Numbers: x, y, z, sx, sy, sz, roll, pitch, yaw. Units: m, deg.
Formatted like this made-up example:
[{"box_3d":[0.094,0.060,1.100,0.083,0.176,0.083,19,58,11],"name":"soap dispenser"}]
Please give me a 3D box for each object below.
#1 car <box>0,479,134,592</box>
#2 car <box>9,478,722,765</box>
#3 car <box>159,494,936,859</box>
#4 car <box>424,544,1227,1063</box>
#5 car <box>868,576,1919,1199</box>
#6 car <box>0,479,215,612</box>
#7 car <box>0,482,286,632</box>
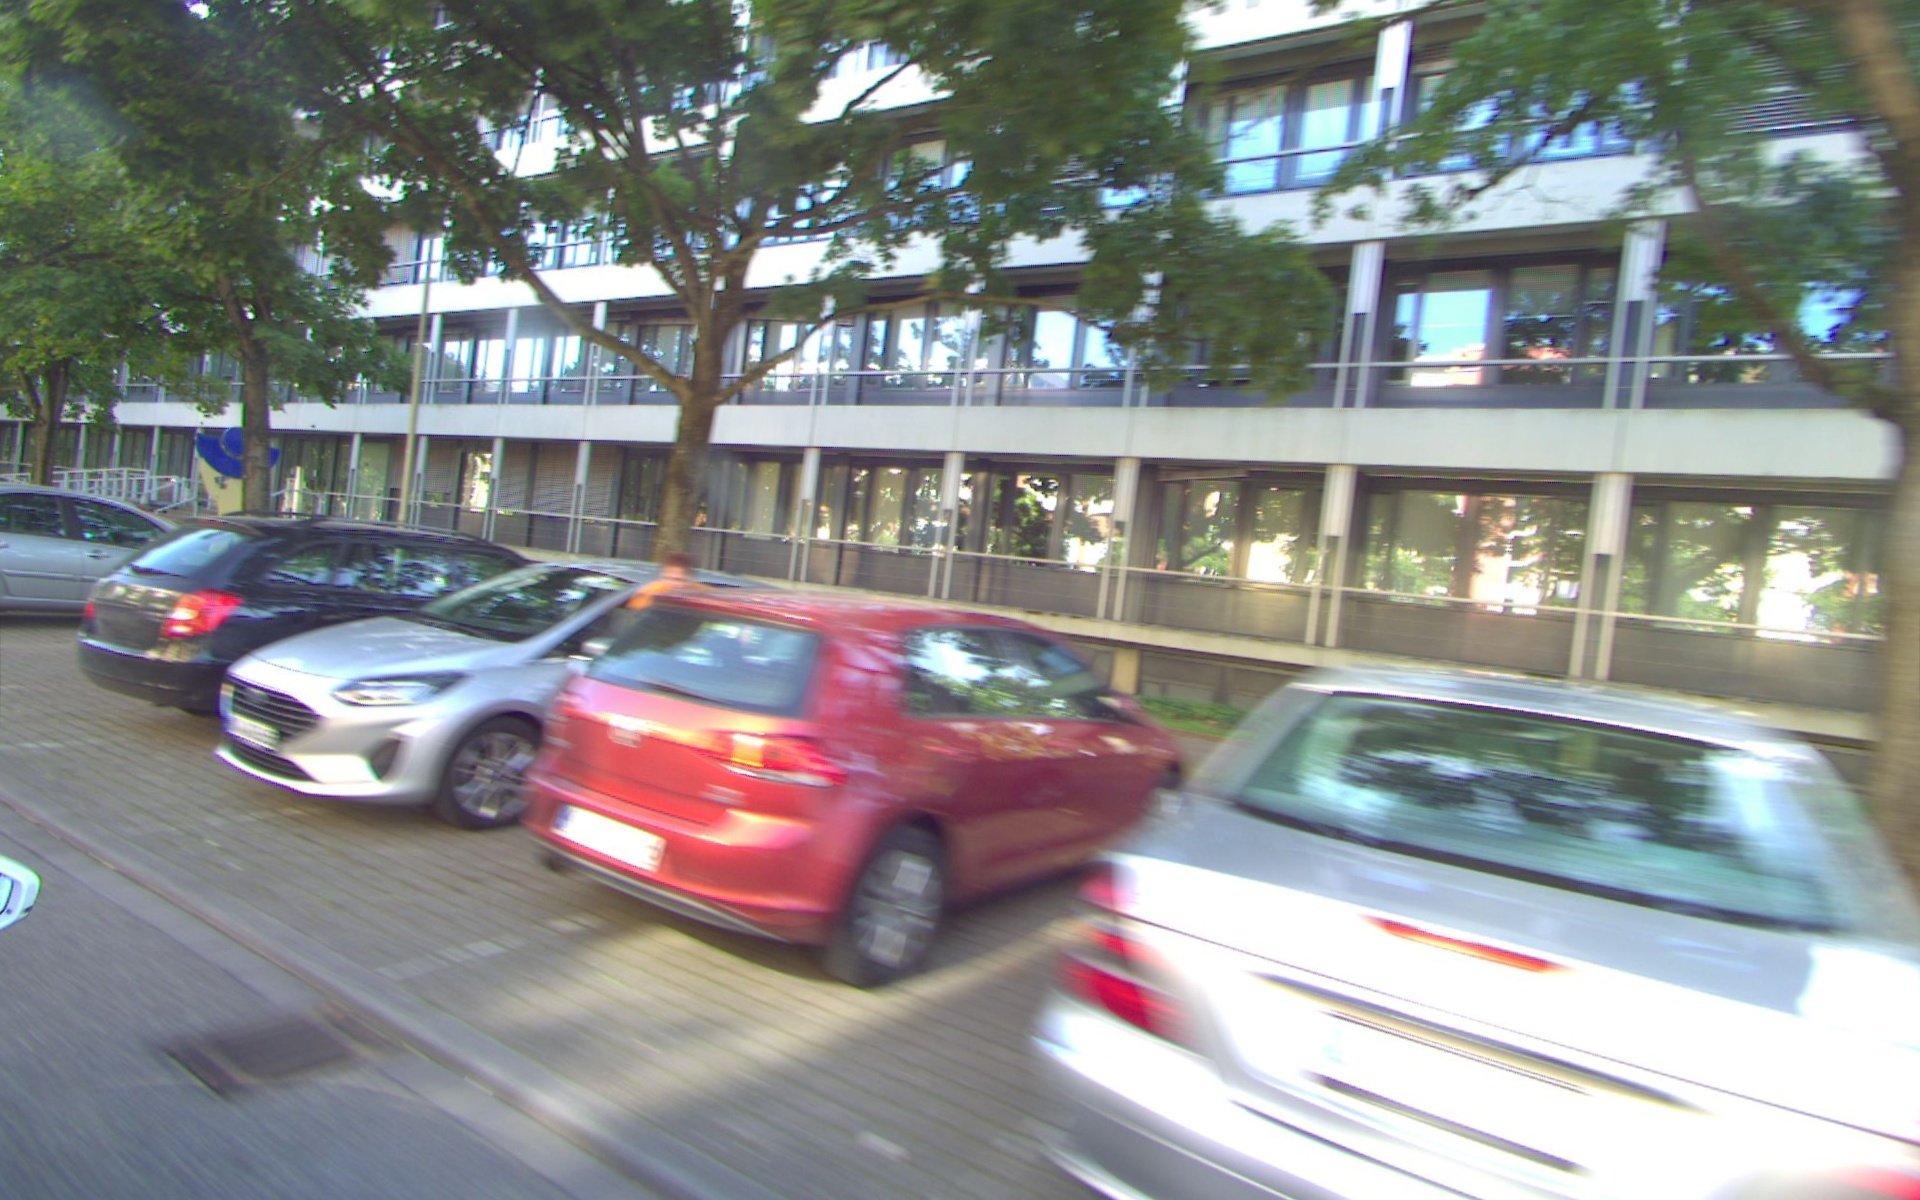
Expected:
[{"box_3d":[-14.547,-1.036,13.828,1.733,1.513,4.592,7,2,31],"name":"car"},{"box_3d":[-4.294,0.167,8.106,1.890,1.562,4.518,7,1,31],"name":"car"},{"box_3d":[-2.323,0.404,6.857,1.892,1.562,4.514,7,1,35],"name":"car"},{"box_3d":[-0.294,0.690,5.162,1.892,1.466,3.836,7,1,35],"name":"car"},{"box_3d":[1.769,0.933,3.469,1.718,1.493,4.583,7,0,31],"name":"car"},{"box_3d":[-12.261,-0.773,12.546,1.969,1.512,4.291,7,1,28],"name":"car"},{"box_3d":[-10.182,-0.505,11.496,1.589,1.512,3.748,7,1,28],"name":"car"}]
